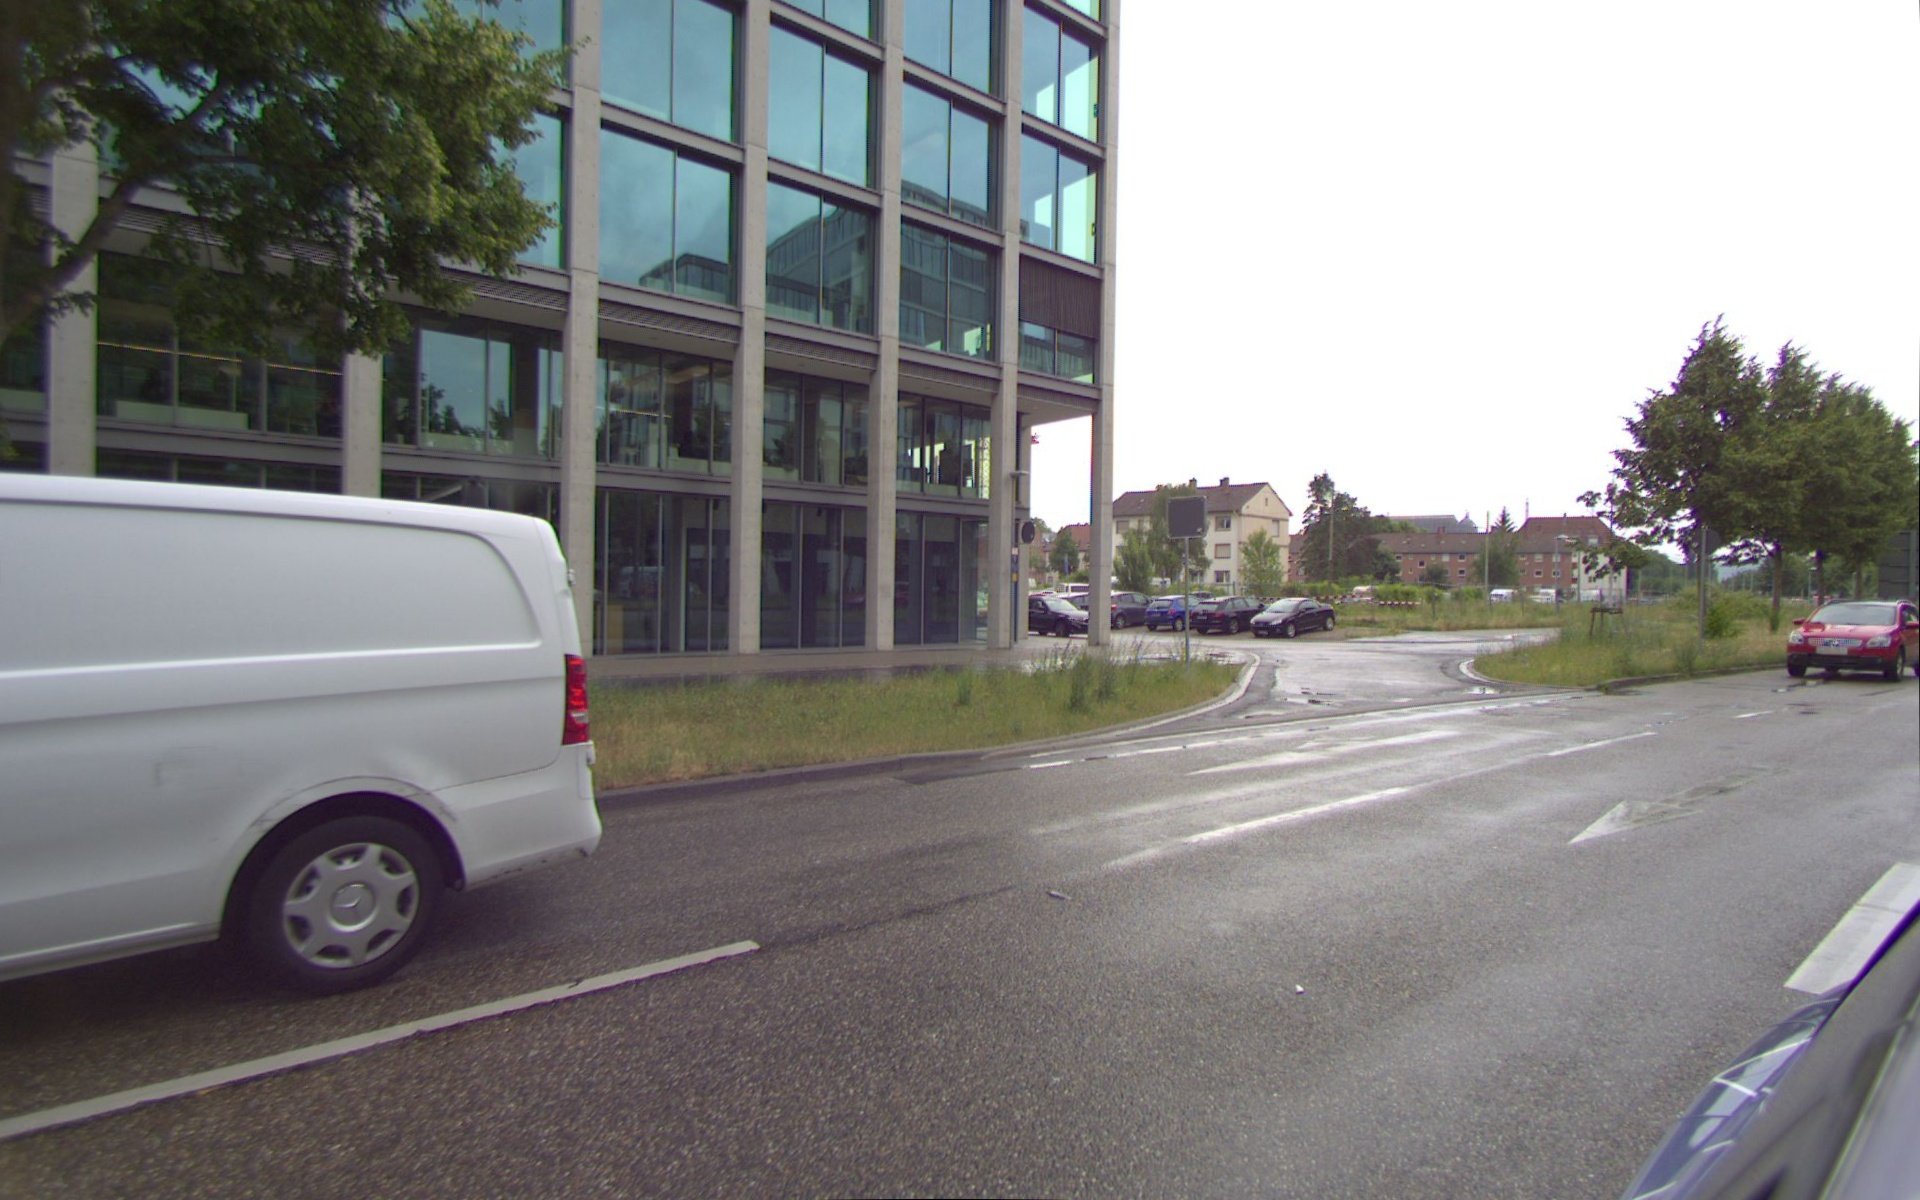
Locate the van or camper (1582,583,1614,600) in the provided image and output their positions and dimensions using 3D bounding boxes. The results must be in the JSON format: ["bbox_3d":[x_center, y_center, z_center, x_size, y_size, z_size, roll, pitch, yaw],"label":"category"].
[{"bbox_3d":[86.380,-1.140,137.073,6.045,2.337,2.204,0,-1,-43],"label":"van or camper"}]

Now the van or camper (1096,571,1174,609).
[{"bbox_3d":[14.774,-0.850,85.287,6.658,3.031,2.912,0,1,-41],"label":"van or camper"}]

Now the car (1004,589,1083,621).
[{"bbox_3d":[4.469,0.240,53.833,3.924,1.621,1.861,0,1,-35],"label":"car"}]

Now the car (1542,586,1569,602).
[{"bbox_3d":[85.268,-0.829,144.910,4.682,2.248,2.273,0,0,-45],"label":"car"}]

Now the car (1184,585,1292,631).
[{"bbox_3d":[11.448,0.272,41.592,4.474,1.472,1.861,-5,4,-35],"label":"car"}]

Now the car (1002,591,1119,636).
[{"bbox_3d":[3.618,0.467,36.964,1.943,1.456,4.232,2,-1,-35],"label":"car"}]

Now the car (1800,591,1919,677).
[{"bbox_3d":[19.307,0.640,21.299,4.169,1.632,1.798,0,0,-40],"label":"car"}]

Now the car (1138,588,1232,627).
[{"bbox_3d":[9.832,0.295,44.129,3.926,1.472,1.861,-3,2,-35],"label":"car"}]

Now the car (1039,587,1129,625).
[{"bbox_3d":[5.981,0.254,48.586,4.152,1.492,1.791,-4,3,-35],"label":"car"}]

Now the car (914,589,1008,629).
[{"bbox_3d":[0.003,0.348,41.798,1.826,1.507,3.999,3,-1,-36],"label":"car"}]

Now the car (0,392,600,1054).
[{"bbox_3d":[-4.042,0.373,3.383,5.003,2.004,1.970,-1,1,-41],"label":"car"}]

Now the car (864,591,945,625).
[{"bbox_3d":[-2.545,0.351,45.580,1.825,1.390,4.000,2,0,-35],"label":"car"}]

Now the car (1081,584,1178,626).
[{"bbox_3d":[7.830,0.196,46.667,4.334,1.621,1.861,-4,3,-35],"label":"car"}]

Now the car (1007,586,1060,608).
[{"bbox_3d":[5.612,-0.220,76.728,3.961,1.601,1.699,0,1,-40],"label":"car"}]

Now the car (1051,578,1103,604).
[{"bbox_3d":[9.275,-0.710,80.156,4.090,2.030,1.699,0,1,-40],"label":"car"}]

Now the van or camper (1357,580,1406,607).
[{"bbox_3d":[43.834,-0.636,105.091,6.289,2.723,2.311,0,1,-43],"label":"van or camper"}]

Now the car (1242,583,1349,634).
[{"bbox_3d":[13.022,0.283,39.250,3.925,1.599,1.862,-6,3,-33],"label":"car"}]
